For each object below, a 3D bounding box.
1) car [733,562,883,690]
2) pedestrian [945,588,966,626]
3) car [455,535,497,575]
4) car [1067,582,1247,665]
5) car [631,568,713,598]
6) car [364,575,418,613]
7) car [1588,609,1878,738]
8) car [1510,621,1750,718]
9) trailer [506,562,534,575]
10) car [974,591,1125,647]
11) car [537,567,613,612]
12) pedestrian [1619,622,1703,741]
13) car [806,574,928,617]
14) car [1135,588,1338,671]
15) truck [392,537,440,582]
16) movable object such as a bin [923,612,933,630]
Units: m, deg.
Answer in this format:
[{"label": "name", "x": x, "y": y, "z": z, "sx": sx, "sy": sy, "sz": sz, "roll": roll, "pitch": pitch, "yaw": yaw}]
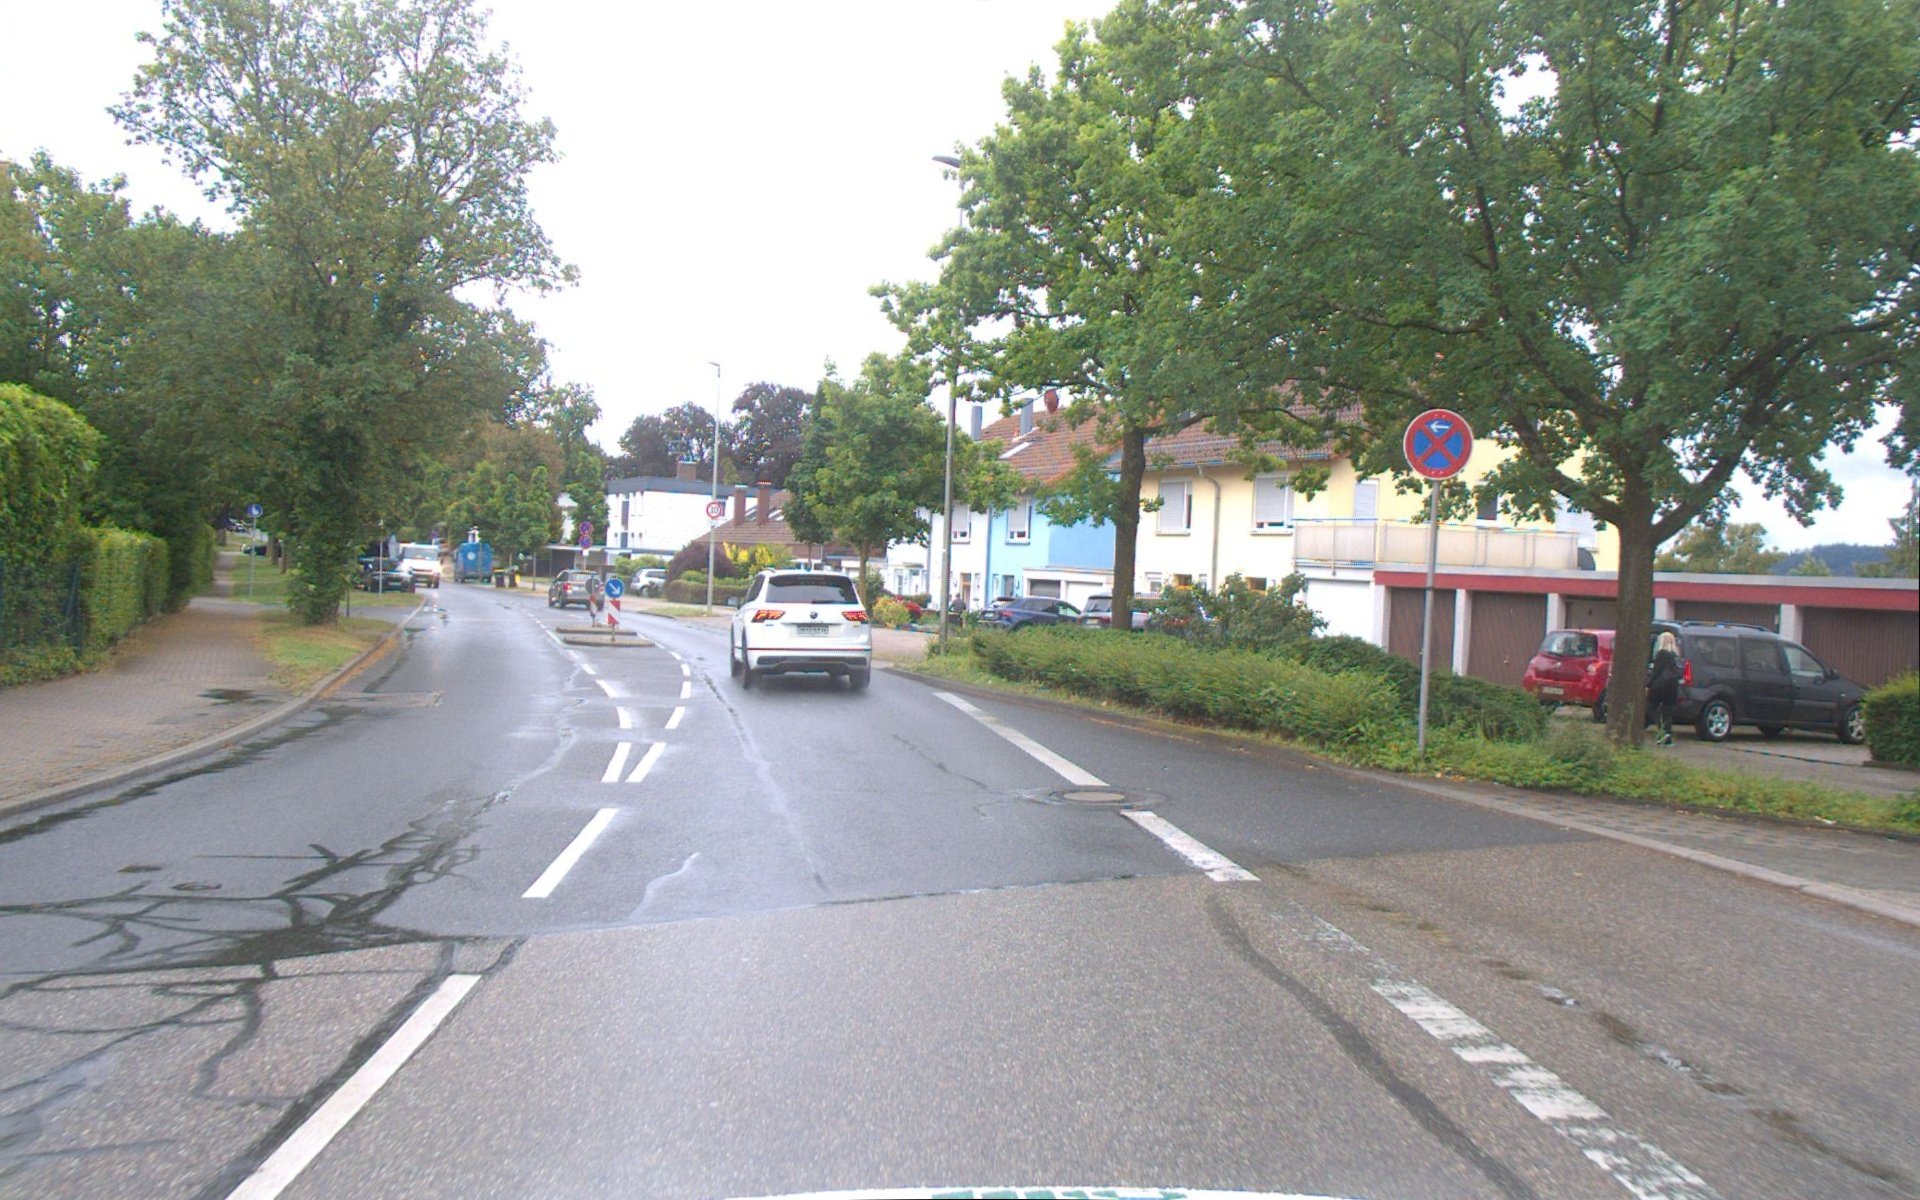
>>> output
[{"label": "car", "x": -2.323, "y": 0.331, "z": 24.362, "sx": 1.831, "sy": 1.679, "sz": 3.990, "roll": 2, "pitch": 0, "yaw": -10}, {"label": "pedestrian", "x": -0.175, "y": 0.263, "z": 60.852, "sx": 0.531, "sy": 1.374, "sz": 0.522, "roll": 2, "pitch": 0, "yaw": -38}, {"label": "car", "x": -32.577, "y": -3.049, "z": 111.283, "sx": 1.968, "sy": 2.631, "sz": 5.591, "roll": 0, "pitch": 2, "yaw": -24}, {"label": "car", "x": 4.840, "y": 0.591, "z": 40.450, "sx": 4.138, "sy": 1.700, "sz": 1.703, "roll": 5, "pitch": -1, "yaw": -32}, {"label": "car", "x": -15.293, "y": -0.892, "z": 87.876, "sx": 3.938, "sy": 1.467, "sz": 1.832, "roll": 2, "pitch": 0, "yaw": -26}, {"label": "car", "x": -23.475, "y": -0.264, "z": 68.183, "sx": 1.701, "sy": 1.433, "sz": 3.796, "roll": 2, "pitch": 0, "yaw": -25}, {"label": "car", "x": 11.666, "y": 1.102, "z": 24.969, "sx": 3.938, "sy": 1.751, "sz": 1.909, "roll": 2, "pitch": 0, "yaw": -26}, {"label": "car", "x": 11.151, "y": 1.154, "z": 27.531, "sx": 3.647, "sy": 1.467, "sz": 1.693, "roll": 2, "pitch": 0, "yaw": -26}, {"label": "trailer", "x": -35.876, "y": -2.592, "z": 134.782, "sx": 2.013, "sy": 0.898, "sz": 1.356, "roll": 4, "pitch": 0, "yaw": -22}, {"label": "car", "x": 2.519, "y": 0.543, "z": 46.531, "sx": 3.940, "sy": 1.411, "sz": 1.660, "roll": 2, "pitch": 0, "yaw": -27}, {"label": "car", "x": -14.731, "y": -0.410, "z": 63.141, "sx": 1.750, "sy": 1.578, "sz": 3.961, "roll": 2, "pitch": 1, "yaw": -29}, {"label": "pedestrian", "x": 9.776, "y": 1.114, "z": 23.085, "sx": 0.657, "sy": 1.585, "sz": 0.834, "roll": 0, "pitch": 1, "yaw": -29}, {"label": "car", "x": -3.443, "y": -0.159, "z": 61.421, "sx": 4.266, "sy": 1.282, "sz": 1.659, "roll": 4, "pitch": 0, "yaw": -35}, {"label": "car", "x": 6.282, "y": 0.660, "z": 37.599, "sx": 4.124, "sy": 1.700, "sz": 1.977, "roll": 2, "pitch": 0, "yaw": -24}, {"label": "truck", "x": -29.579, "y": -2.203, "z": 89.822, "sx": 2.184, "sy": 2.242, "sz": 6.427, "roll": 3, "pitch": 0, "yaw": -20}, {"label": "movable object such as a bin", "x": -1.155, "y": 0.762, "z": 59.968, "sx": 0.252, "sy": 0.637, "sz": 0.323, "roll": 2, "pitch": 1, "yaw": -24}]
